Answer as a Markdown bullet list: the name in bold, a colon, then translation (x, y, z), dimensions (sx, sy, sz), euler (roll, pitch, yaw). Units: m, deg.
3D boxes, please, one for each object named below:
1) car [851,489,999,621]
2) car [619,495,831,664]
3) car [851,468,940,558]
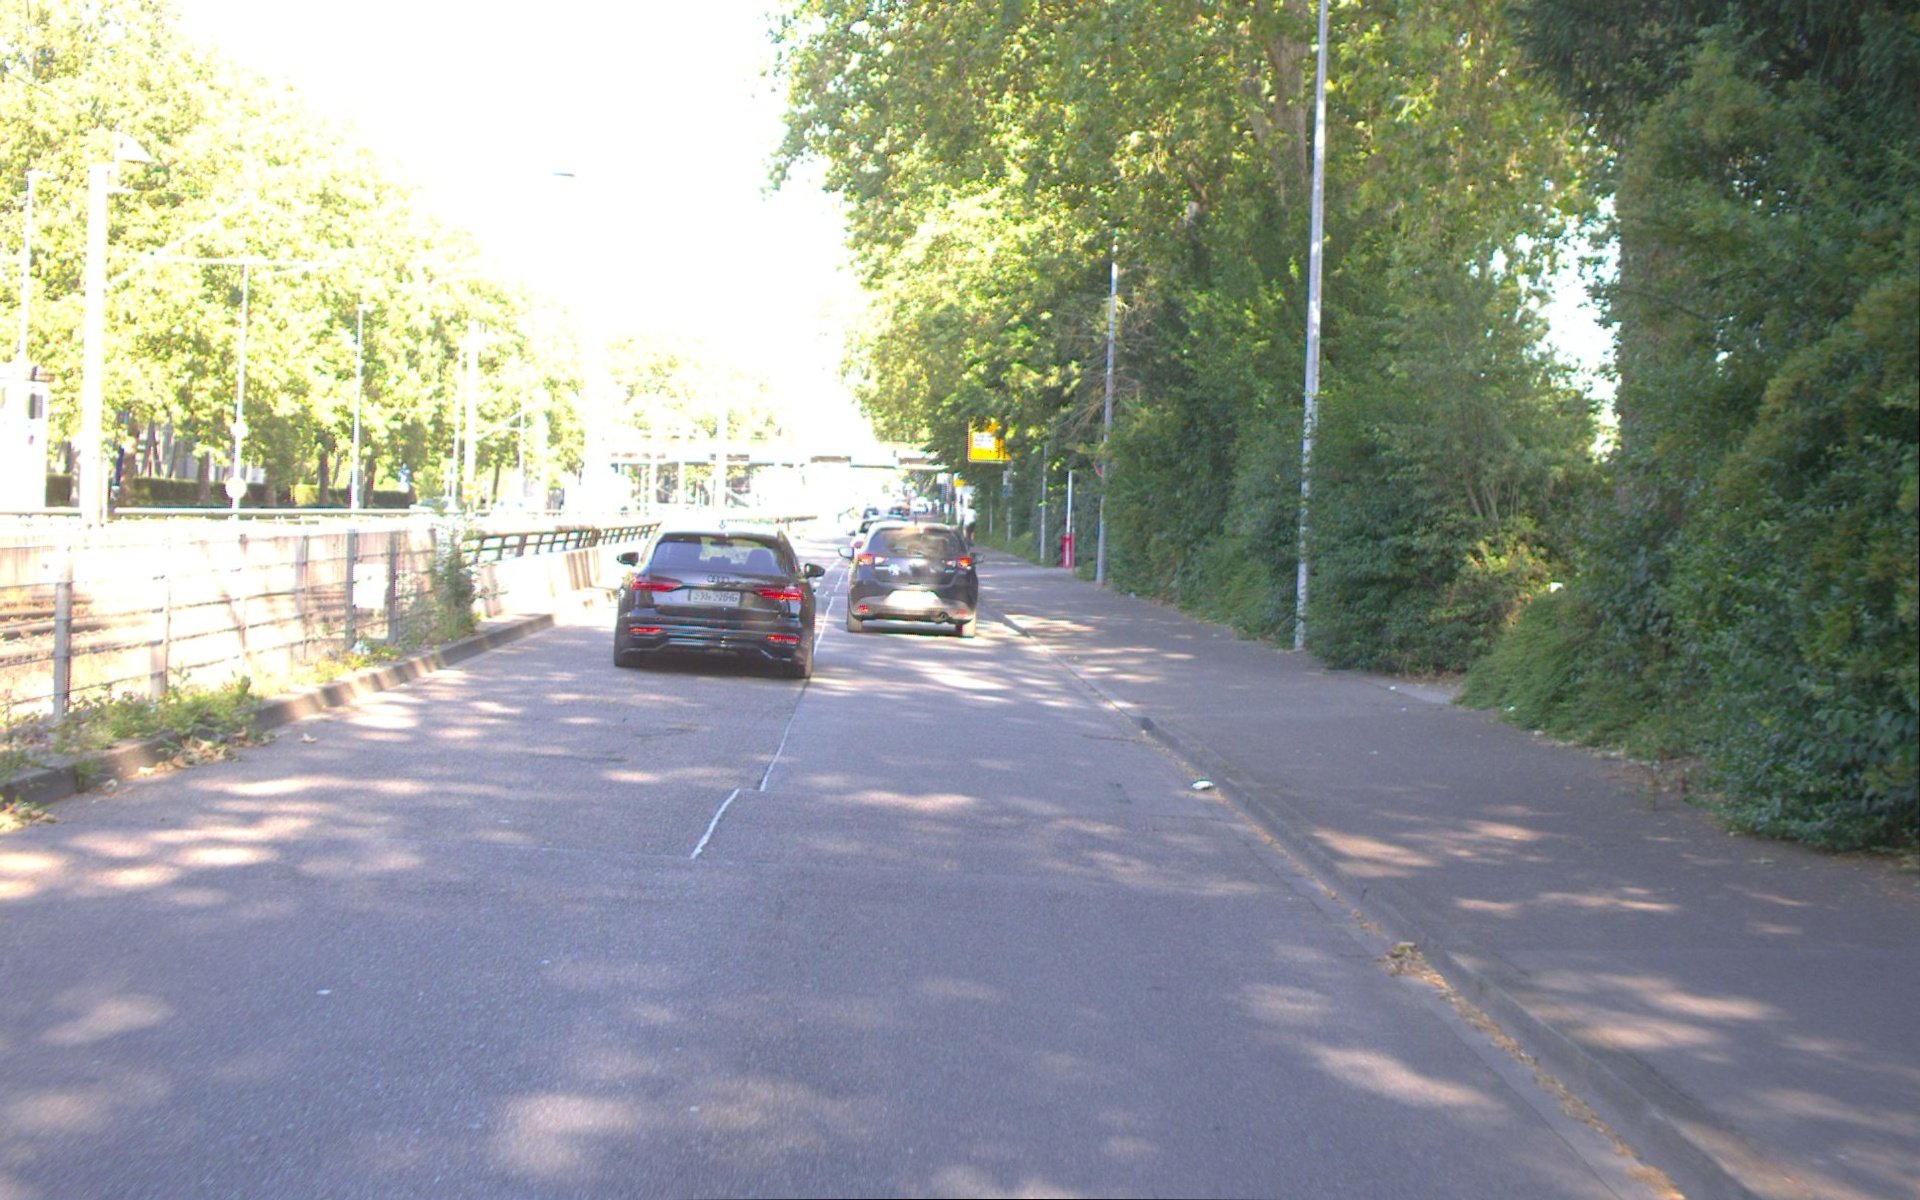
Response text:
- **car**: translation (-0.512, -0.632, 45.845), dimensions (1.762, 1.613, 4.001), euler (2, 2, -3)
- **car**: translation (-2.236, -0.239, 33.045), dimensions (1.878, 1.452, 3.357), euler (2, 2, -3)
- **car**: translation (-1.514, -2.079, 81.291), dimensions (1.993, 2.006, 4.001), euler (2, 2, -1)
